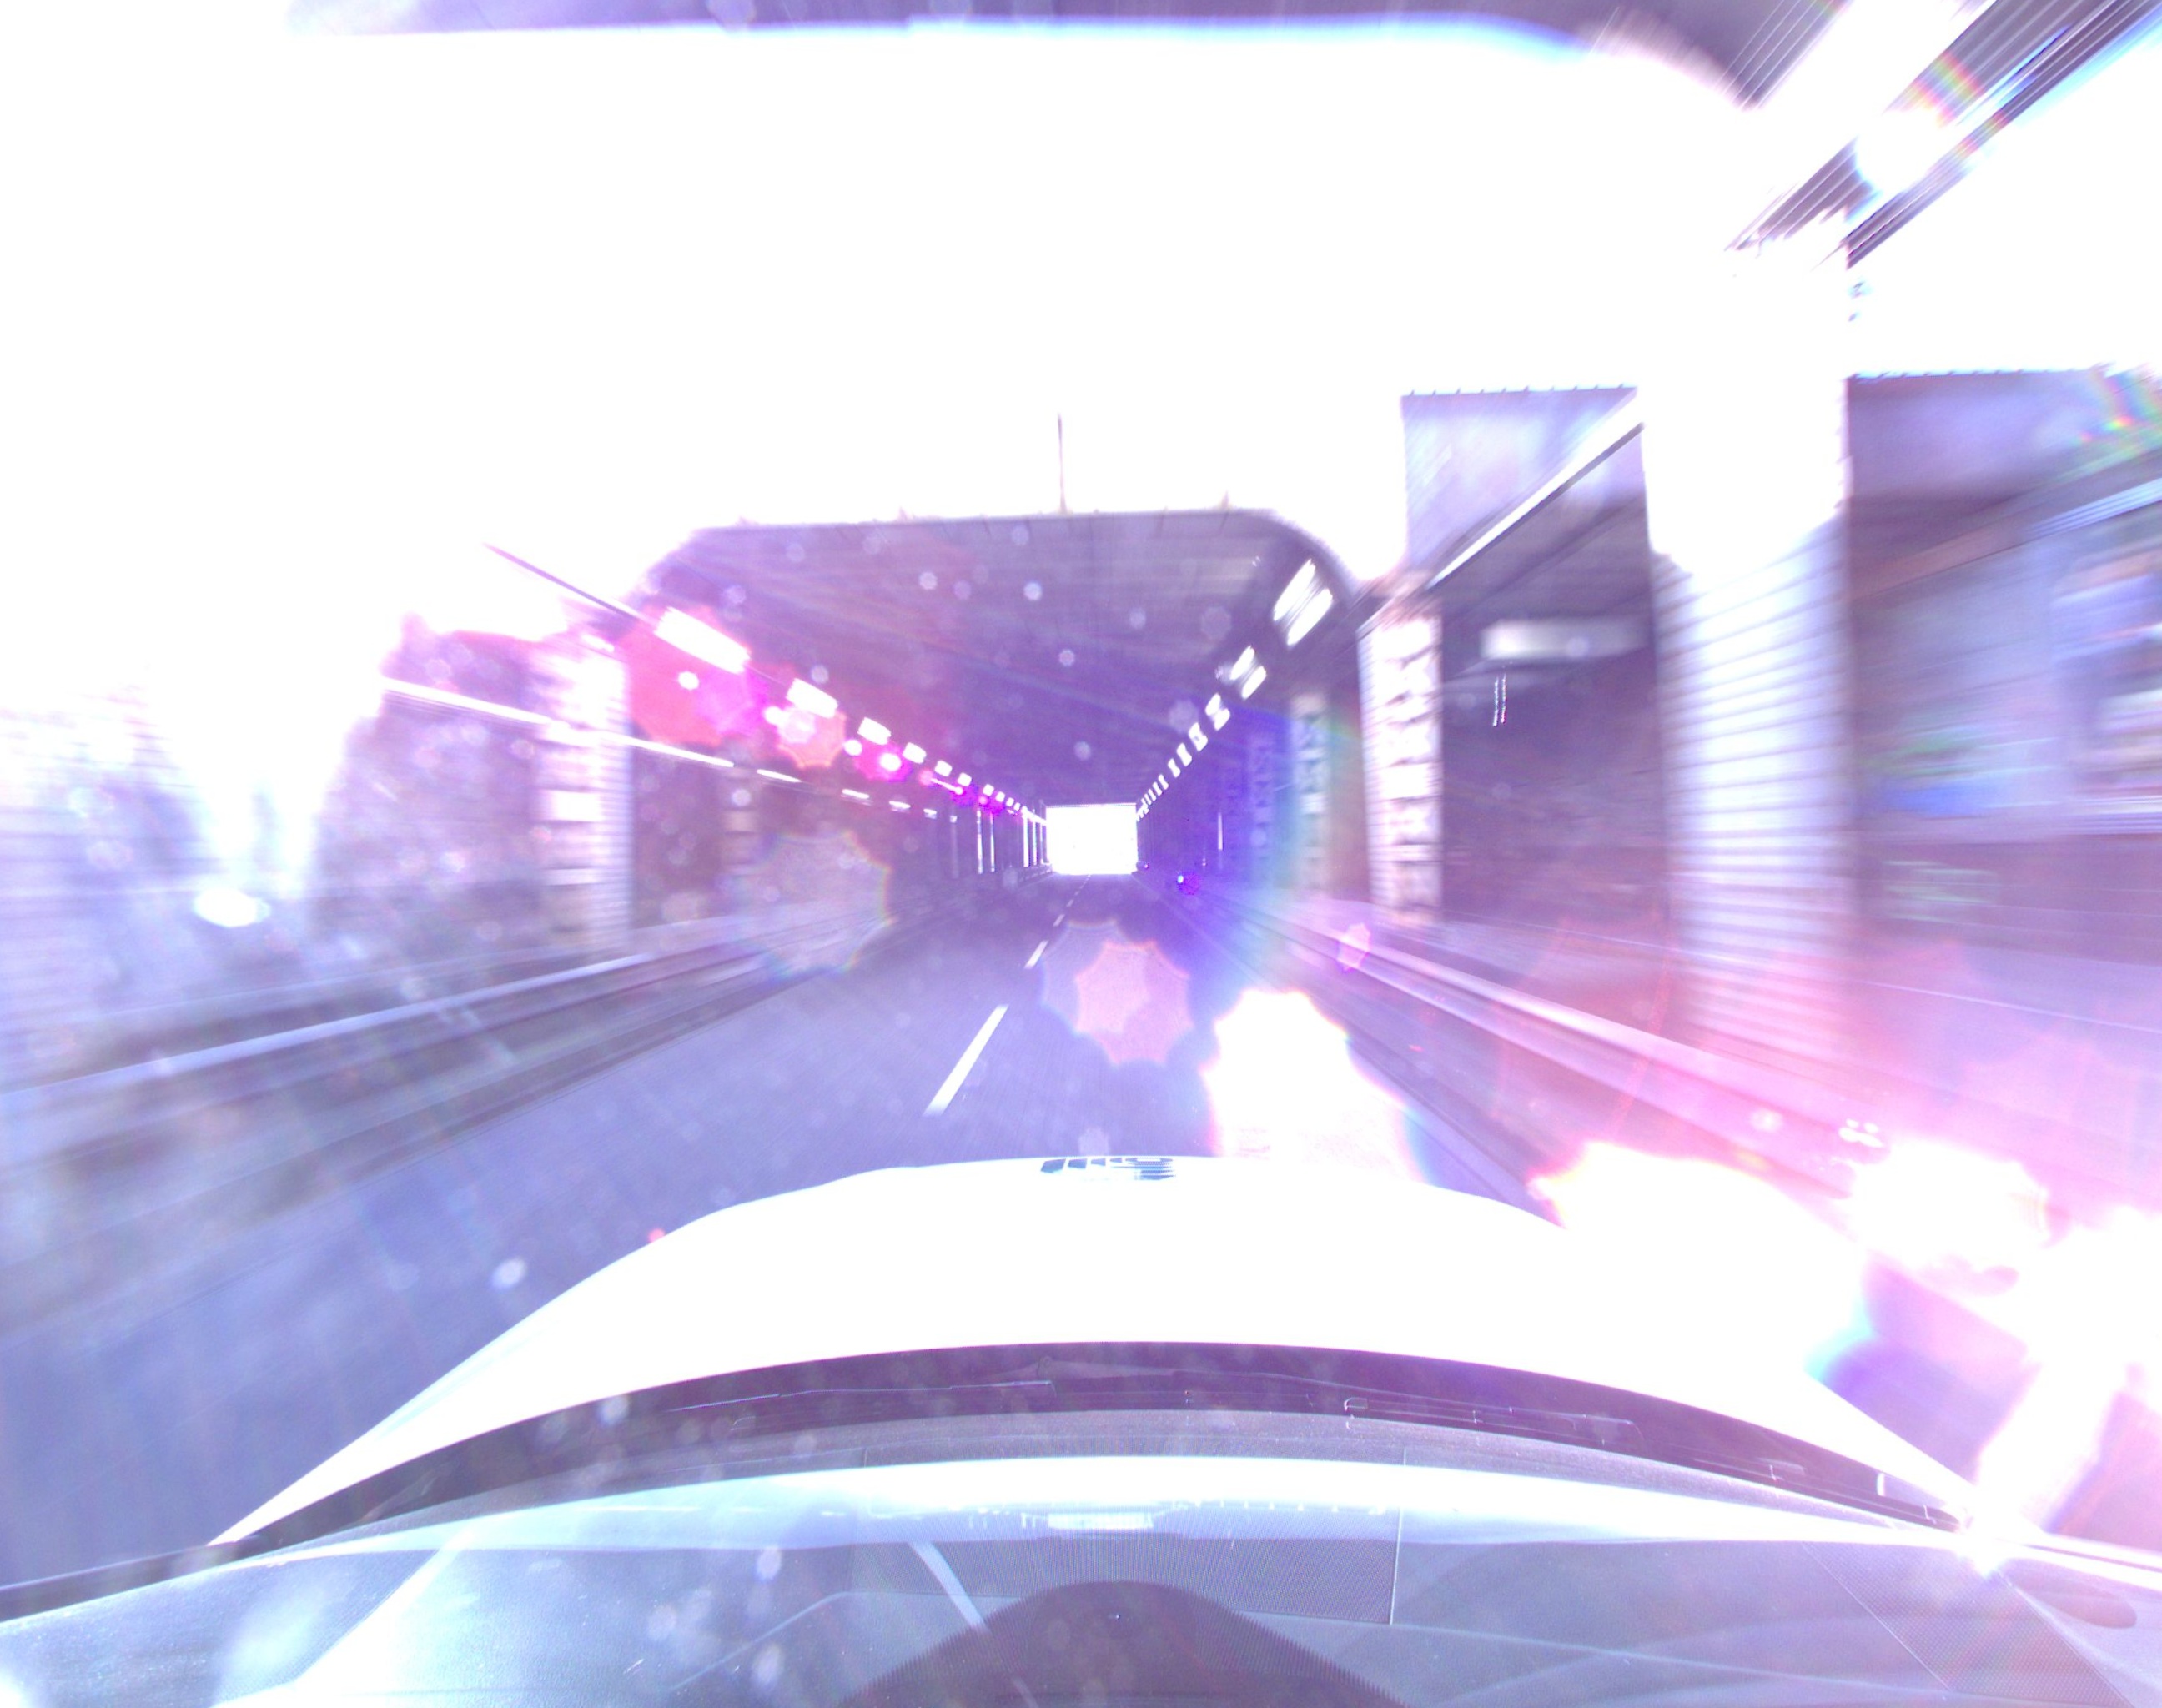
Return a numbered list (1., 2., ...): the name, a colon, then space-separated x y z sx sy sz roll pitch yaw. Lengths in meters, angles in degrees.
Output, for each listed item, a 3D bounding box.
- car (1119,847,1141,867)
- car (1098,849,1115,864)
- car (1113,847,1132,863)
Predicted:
1. car: 4.807 0.277 80.427 1.986 1.784 4.002 -2 0 2
2. car: 3.172 0.286 99.675 1.986 1.784 4.002 -2 0 2
3. car: 4.708 0.125 92.798 1.986 1.784 4.002 -2 0 2
